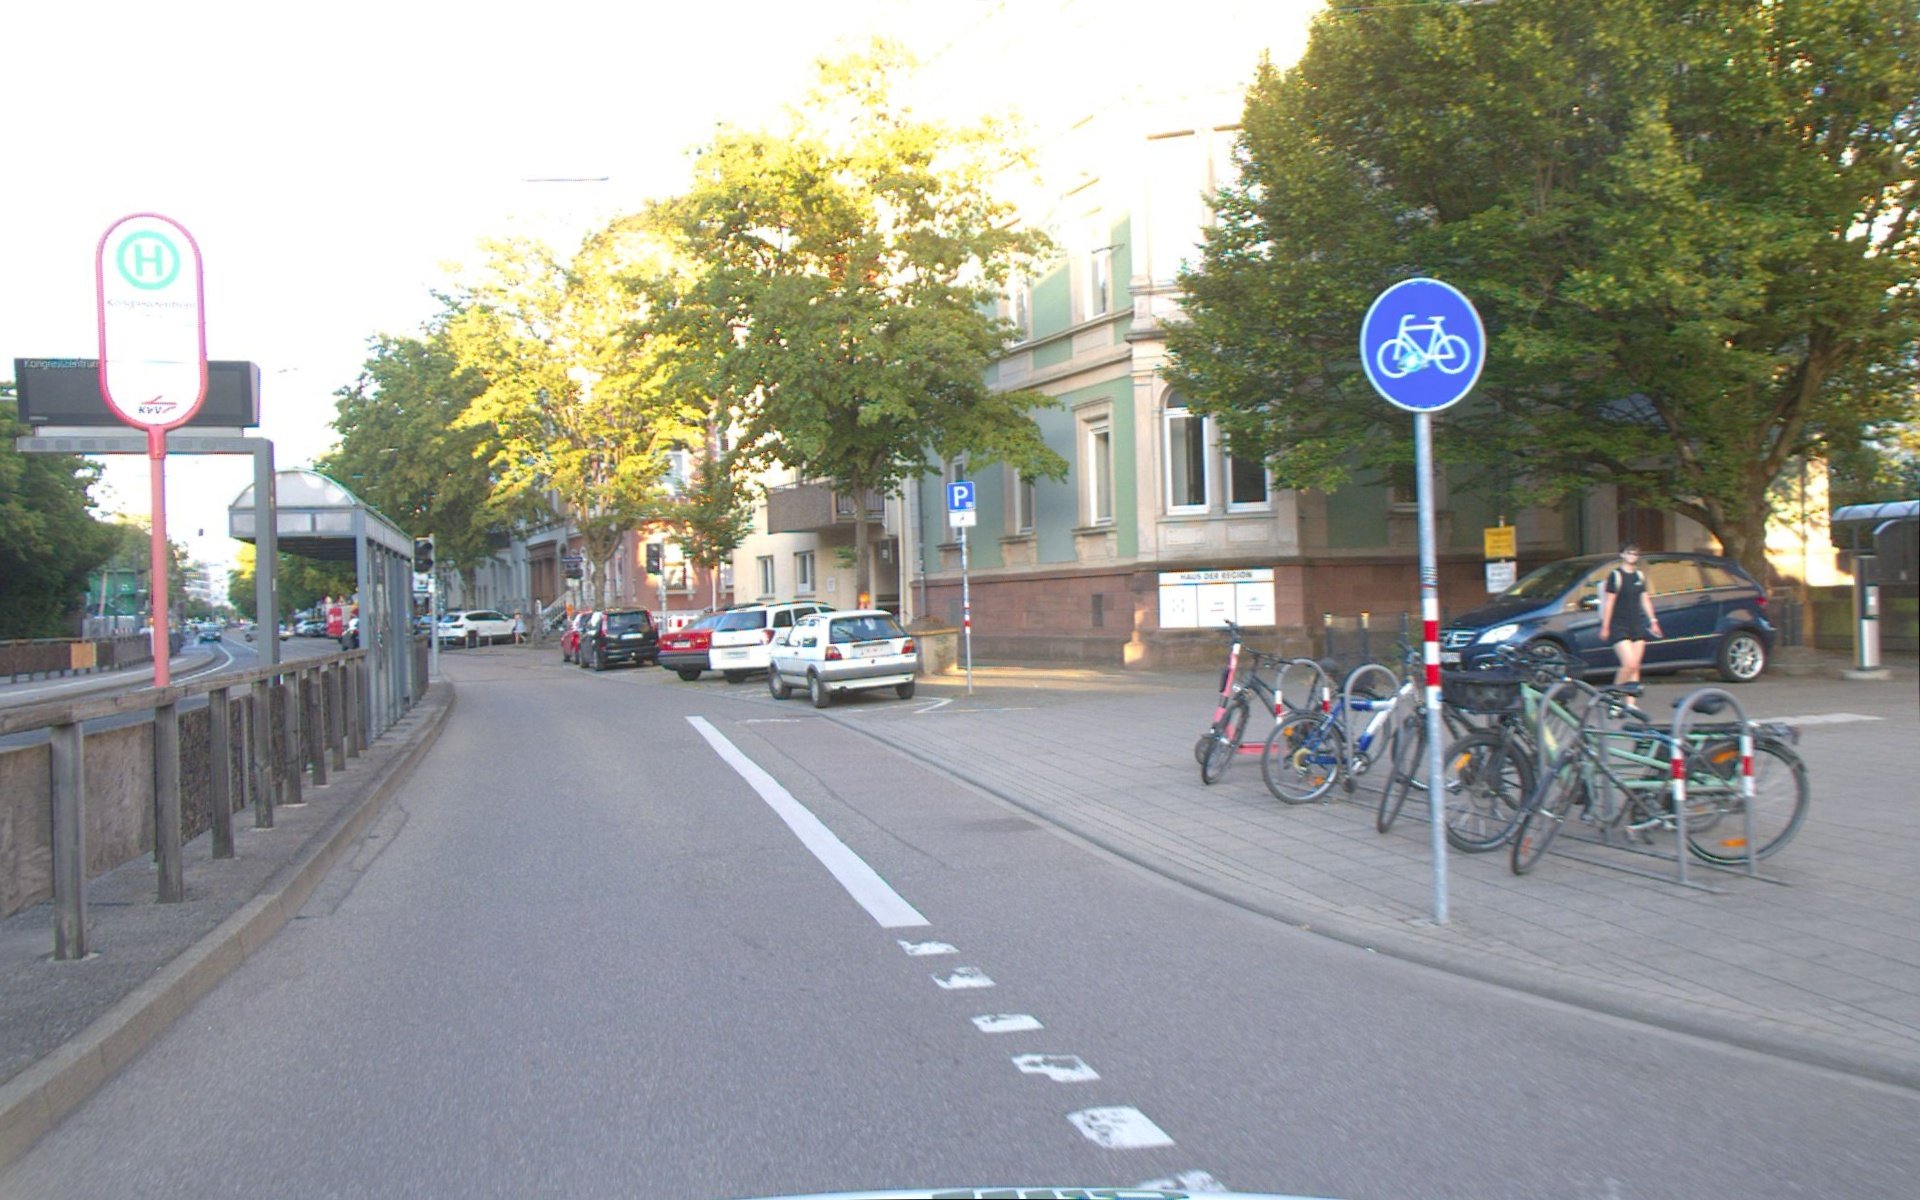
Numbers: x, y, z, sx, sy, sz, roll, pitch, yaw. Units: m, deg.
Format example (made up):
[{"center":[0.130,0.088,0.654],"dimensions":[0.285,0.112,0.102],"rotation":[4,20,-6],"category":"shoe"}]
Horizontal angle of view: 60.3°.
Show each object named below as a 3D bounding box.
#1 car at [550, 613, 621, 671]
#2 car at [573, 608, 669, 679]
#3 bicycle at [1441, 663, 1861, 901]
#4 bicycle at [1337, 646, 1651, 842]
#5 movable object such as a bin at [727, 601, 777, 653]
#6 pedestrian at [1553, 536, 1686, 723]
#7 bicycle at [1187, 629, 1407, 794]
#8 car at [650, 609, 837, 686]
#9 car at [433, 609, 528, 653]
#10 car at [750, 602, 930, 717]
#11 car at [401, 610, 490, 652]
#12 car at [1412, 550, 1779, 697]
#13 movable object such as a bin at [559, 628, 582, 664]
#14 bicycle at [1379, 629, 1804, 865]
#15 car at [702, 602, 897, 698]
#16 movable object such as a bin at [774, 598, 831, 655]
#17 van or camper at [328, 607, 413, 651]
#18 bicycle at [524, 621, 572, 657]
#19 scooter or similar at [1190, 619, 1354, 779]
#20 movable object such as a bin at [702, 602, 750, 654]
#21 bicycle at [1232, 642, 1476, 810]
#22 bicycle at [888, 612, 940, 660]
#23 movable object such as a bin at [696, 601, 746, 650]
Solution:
[{"center":[-11.251,1.248,49.581],"dimensions":[1.542,1.562,3.671],"rotation":[-4,1,-20],"category":"car"},{"center":[-9.042,1.129,43.876],"dimensions":[1.720,1.660,4.060],"rotation":[-4,1,-22],"category":"car"},{"center":[3.475,0.911,8.457],"dimensions":[1.820,1.093,0.744],"rotation":[-2,0,5],"category":"bicycle"},{"center":[3.344,0.877,10.419],"dimensions":[1.723,1.093,0.742],"rotation":[-2,0,-11],"category":"bicycle"},{"center":[-6.267,0.803,49.827],"dimensions":[1.126,1.528,1.260],"rotation":[-1,0,-26],"category":"movable object such as a bin"},{"center":[6.597,0.287,16.566],"dimensions":[0.698,1.799,0.981],"rotation":[-2,0,-27],"category":"pedestrian"},{"center":[2.633,0.853,12.998],"dimensions":[1.498,1.183,0.742],"rotation":[-2,0,-11],"category":"bicycle"},{"center":[-4.609,0.998,35.763],"dimensions":[1.612,1.479,4.196],"rotation":[-2,0,35],"category":"car"},{"center":[-21.585,1.370,74.549],"dimensions":[1.639,1.655,3.944],"rotation":[-2,2,34],"category":"car"},{"center":[-2.033,0.915,26.906],"dimensions":[1.658,1.579,3.972],"rotation":[-5,1,-22],"category":"car"},{"center":[-25.255,1.519,81.327],"dimensions":[1.859,1.697,3.951],"rotation":[-4,1,28],"category":"car"},{"center":[7.845,0.253,20.553],"dimensions":[3.915,1.601,1.798],"rotation":[-2,1,-13],"category":"car"},{"center":[-12.738,1.500,54.108],"dimensions":[0.700,1.174,0.586],"rotation":[-1,0,-13],"category":"movable object such as a bin"},{"center":[3.622,0.809,9.542],"dimensions":[2.190,1.152,0.742],"rotation":[-3,0,-11],"category":"bicycle"},{"center":[-3.182,0.960,33.563],"dimensions":[1.686,1.755,4.198],"rotation":[-1,0,33],"category":"car"},{"center":[-4.354,0.722,45.742],"dimensions":[1.099,1.528,1.470],"rotation":[-1,0,-26],"category":"movable object such as a bin"},{"center":[-42.034,2.053,118.078],"dimensions":[2.041,2.573,5.541],"rotation":[-4,1,30],"category":"van or camper"},{"center":[-16.016,1.513,64.333],"dimensions":[0.588,1.288,1.915],"rotation":[-2,0,30],"category":"bicycle"},{"center":[2.650,0.825,14.094],"dimensions":[1.179,1.246,0.589],"rotation":[-4,0,-12],"category":"scooter or similar"},{"center":[-7.213,0.861,50.894],"dimensions":[1.059,1.528,1.307],"rotation":[-1,0,-27],"category":"movable object such as a bin"},{"center":[2.827,0.883,11.944],"dimensions":[1.523,1.093,0.742],"rotation":[-2,0,-11],"category":"bicycle"},{"center":[-1.095,0.858,39.169],"dimensions":[0.642,1.093,1.543],"rotation":[-1,0,-25],"category":"bicycle"},{"center":[-7.679,0.817,53.075],"dimensions":[1.126,1.528,1.585],"rotation":[-1,0,-26],"category":"movable object such as a bin"}]
